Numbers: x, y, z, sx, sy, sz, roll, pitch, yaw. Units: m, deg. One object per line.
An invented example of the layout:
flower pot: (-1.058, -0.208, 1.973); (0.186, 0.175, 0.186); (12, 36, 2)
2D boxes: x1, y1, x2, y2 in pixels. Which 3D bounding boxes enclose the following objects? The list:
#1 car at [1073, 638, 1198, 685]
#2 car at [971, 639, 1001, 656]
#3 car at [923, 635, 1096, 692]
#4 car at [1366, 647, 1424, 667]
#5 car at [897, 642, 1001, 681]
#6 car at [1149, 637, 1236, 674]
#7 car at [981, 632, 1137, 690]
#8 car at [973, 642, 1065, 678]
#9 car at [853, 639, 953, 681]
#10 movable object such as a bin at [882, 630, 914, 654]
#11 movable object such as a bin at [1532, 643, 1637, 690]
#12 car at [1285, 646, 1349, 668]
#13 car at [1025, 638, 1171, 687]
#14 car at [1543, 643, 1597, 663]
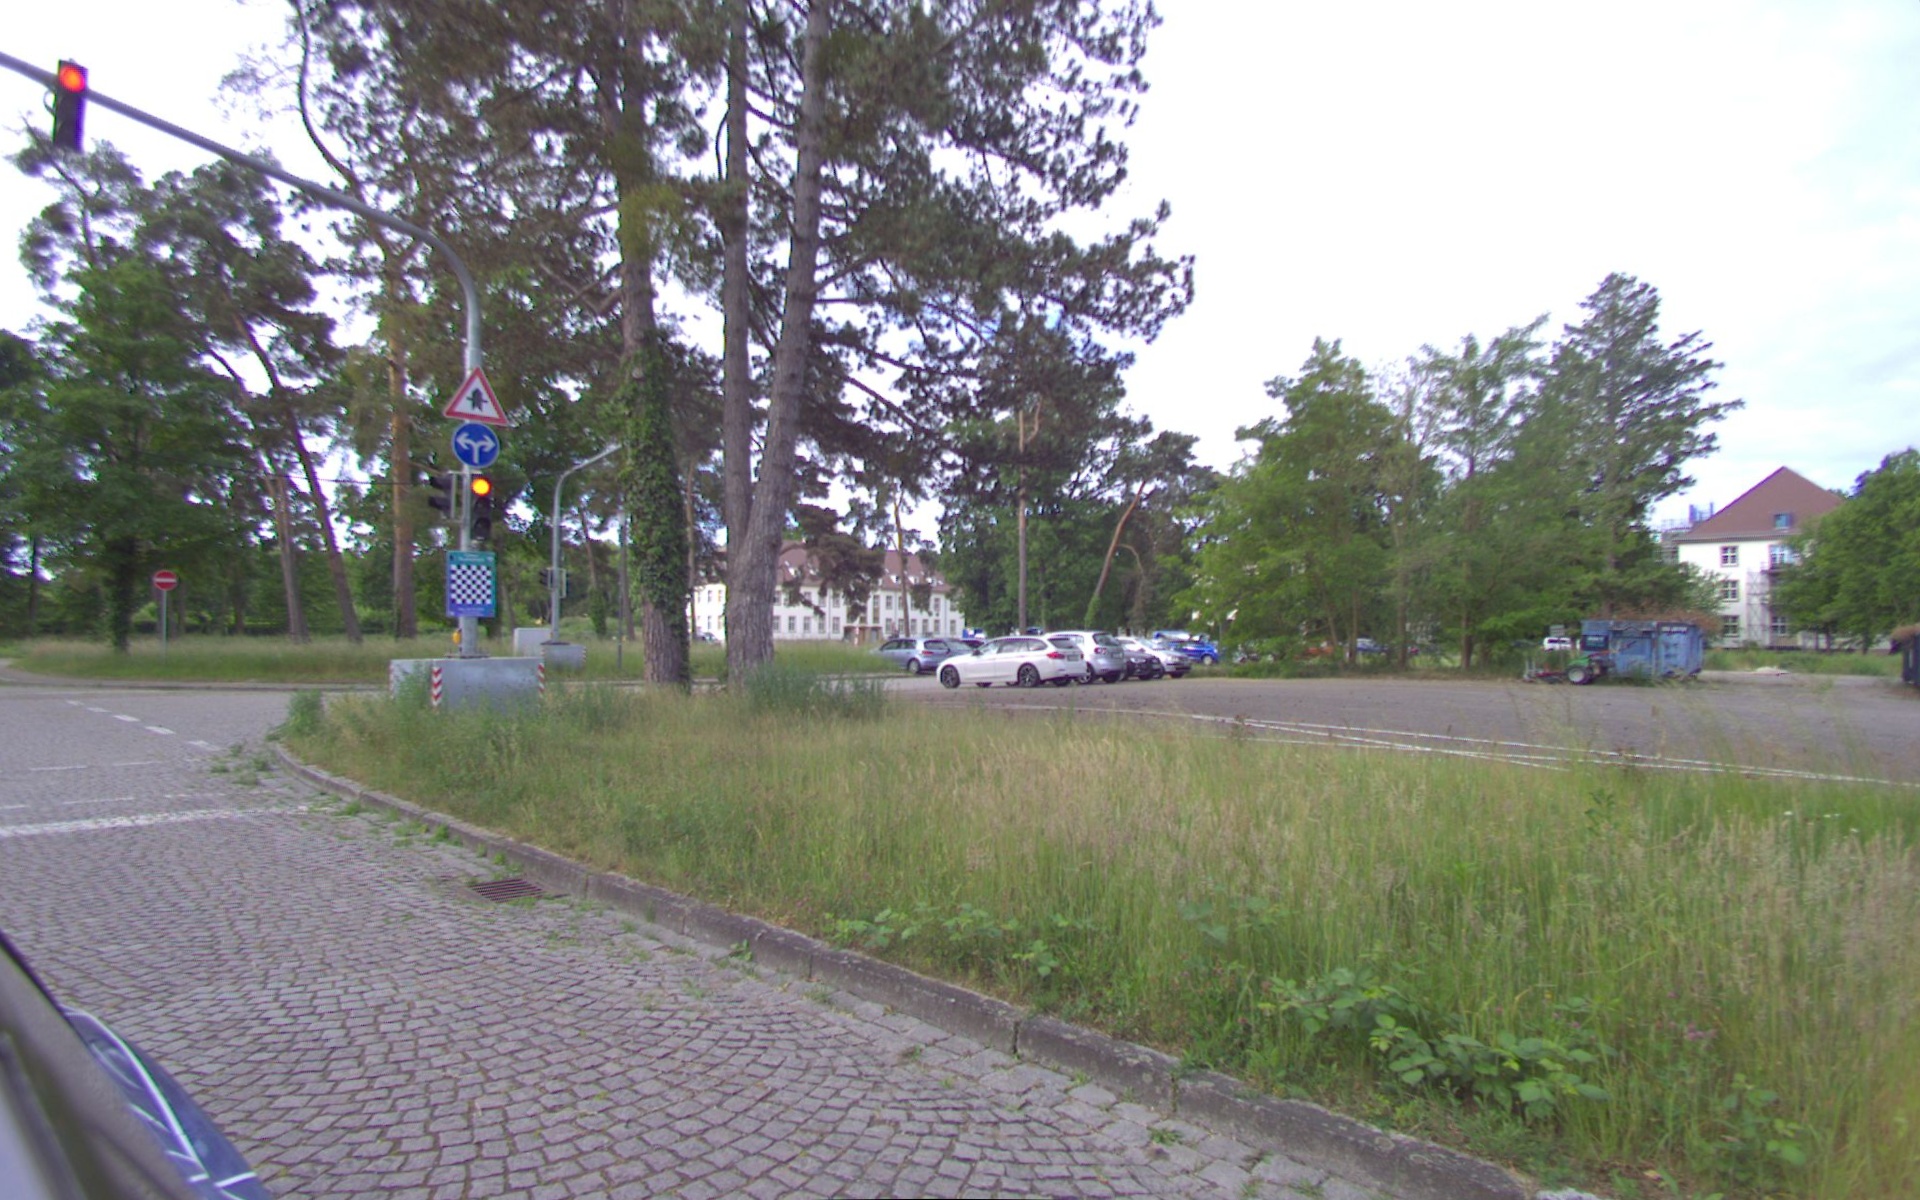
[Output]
car: (6.025, 2.144, 34.933); (3.958, 1.482, 1.564); (-5, -5, 40)
car: (3.654, 6.735, 143.693); (1.863, 2.382, 4.385); (-3, -4, 42)
car: (1.328, 1.846, 28.716); (4.751, 1.499, 1.841); (-4, -6, 40)
car: (36.016, 4.730, 83.904); (1.699, 1.545, 4.104); (3, -3, -40)
car: (-0.517, 2.602, 43.223); (4.441, 1.394, 1.641); (1, -1, 41)
car: (13.474, 3.183, 58.797); (4.608, 2.021, 1.884); (-1, -2, 45)
car: (2.956, 1.872, 30.639); (4.369, 1.610, 1.849); (-4, -5, 37)
car: (2.700, 2.772, 47.258); (4.187, 1.493, 1.693); (-1, -3, 43)
car: (-2.368, 2.419, 41.412); (4.012, 1.439, 1.674); (1, -1, 41)
movable object such as a bin: (-9.767, 6.617, 159.153); (2.022, 3.799, 5.468); (2, -4, -44)
movable object such as a bin: (16.545, 1.742, 26.842); (2.268, 1.134, 0.847); (-1, -2, 41)
car: (25.793, 4.116, 73.182); (4.089, 1.455, 1.701); (-1, -3, 44)
car: (4.410, 2.061, 32.836); (4.446, 1.435, 1.699); (-5, -5, 41)
car: (70.615, 6.088, 117.229); (5.147, 2.166, 1.751); (-1, -3, 40)
